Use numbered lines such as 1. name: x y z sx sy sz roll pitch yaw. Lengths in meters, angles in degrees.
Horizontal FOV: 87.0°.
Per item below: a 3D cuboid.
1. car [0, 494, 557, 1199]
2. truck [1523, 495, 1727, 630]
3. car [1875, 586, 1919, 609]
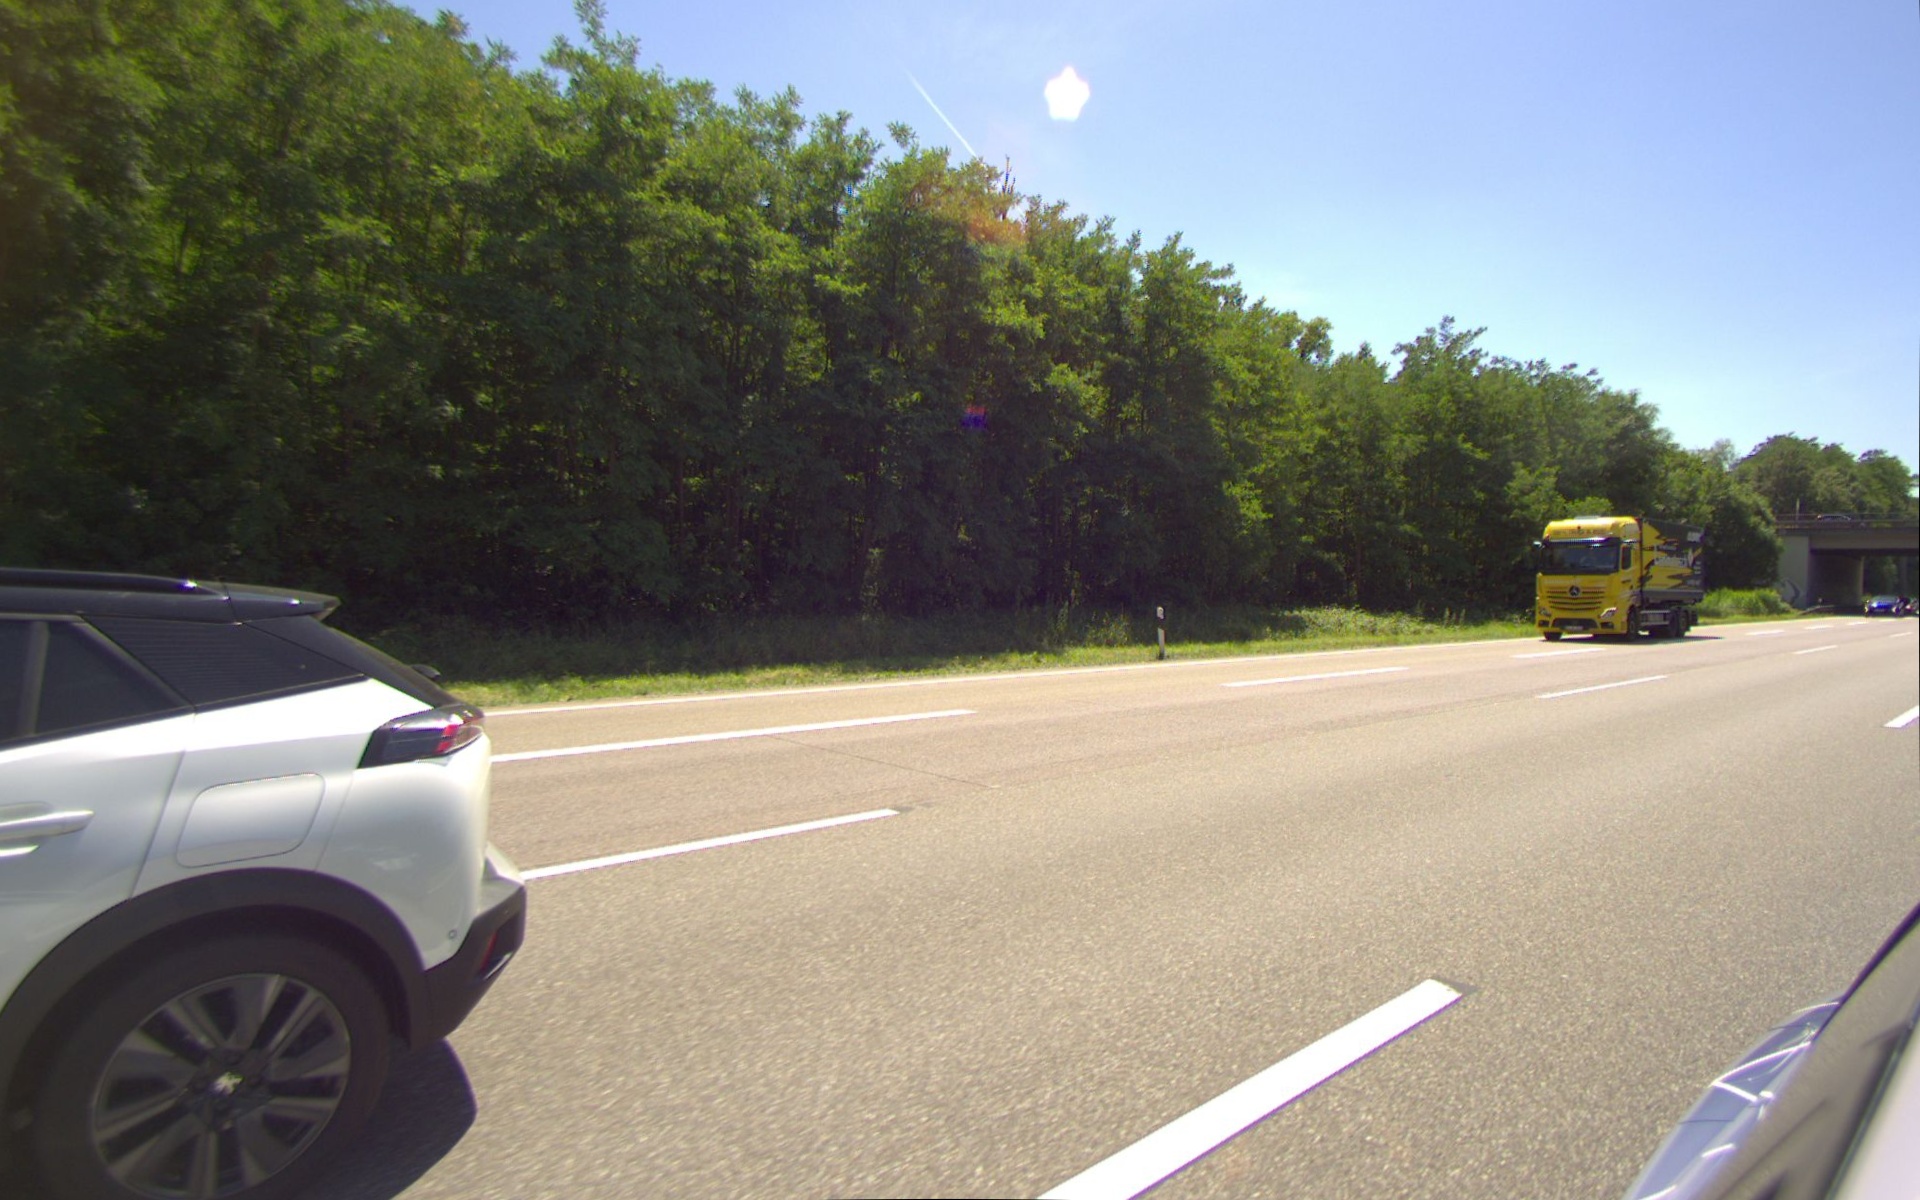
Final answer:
1. car: -3.467 0.597 1.897 4.725 1.628 1.830 -1 1 -41
2. truck: 23.371 -1.177 35.218 10.787 4.088 2.980 -1 0 -40
3. car: 66.330 -0.225 71.623 4.128 1.575 1.873 -1 1 -41
